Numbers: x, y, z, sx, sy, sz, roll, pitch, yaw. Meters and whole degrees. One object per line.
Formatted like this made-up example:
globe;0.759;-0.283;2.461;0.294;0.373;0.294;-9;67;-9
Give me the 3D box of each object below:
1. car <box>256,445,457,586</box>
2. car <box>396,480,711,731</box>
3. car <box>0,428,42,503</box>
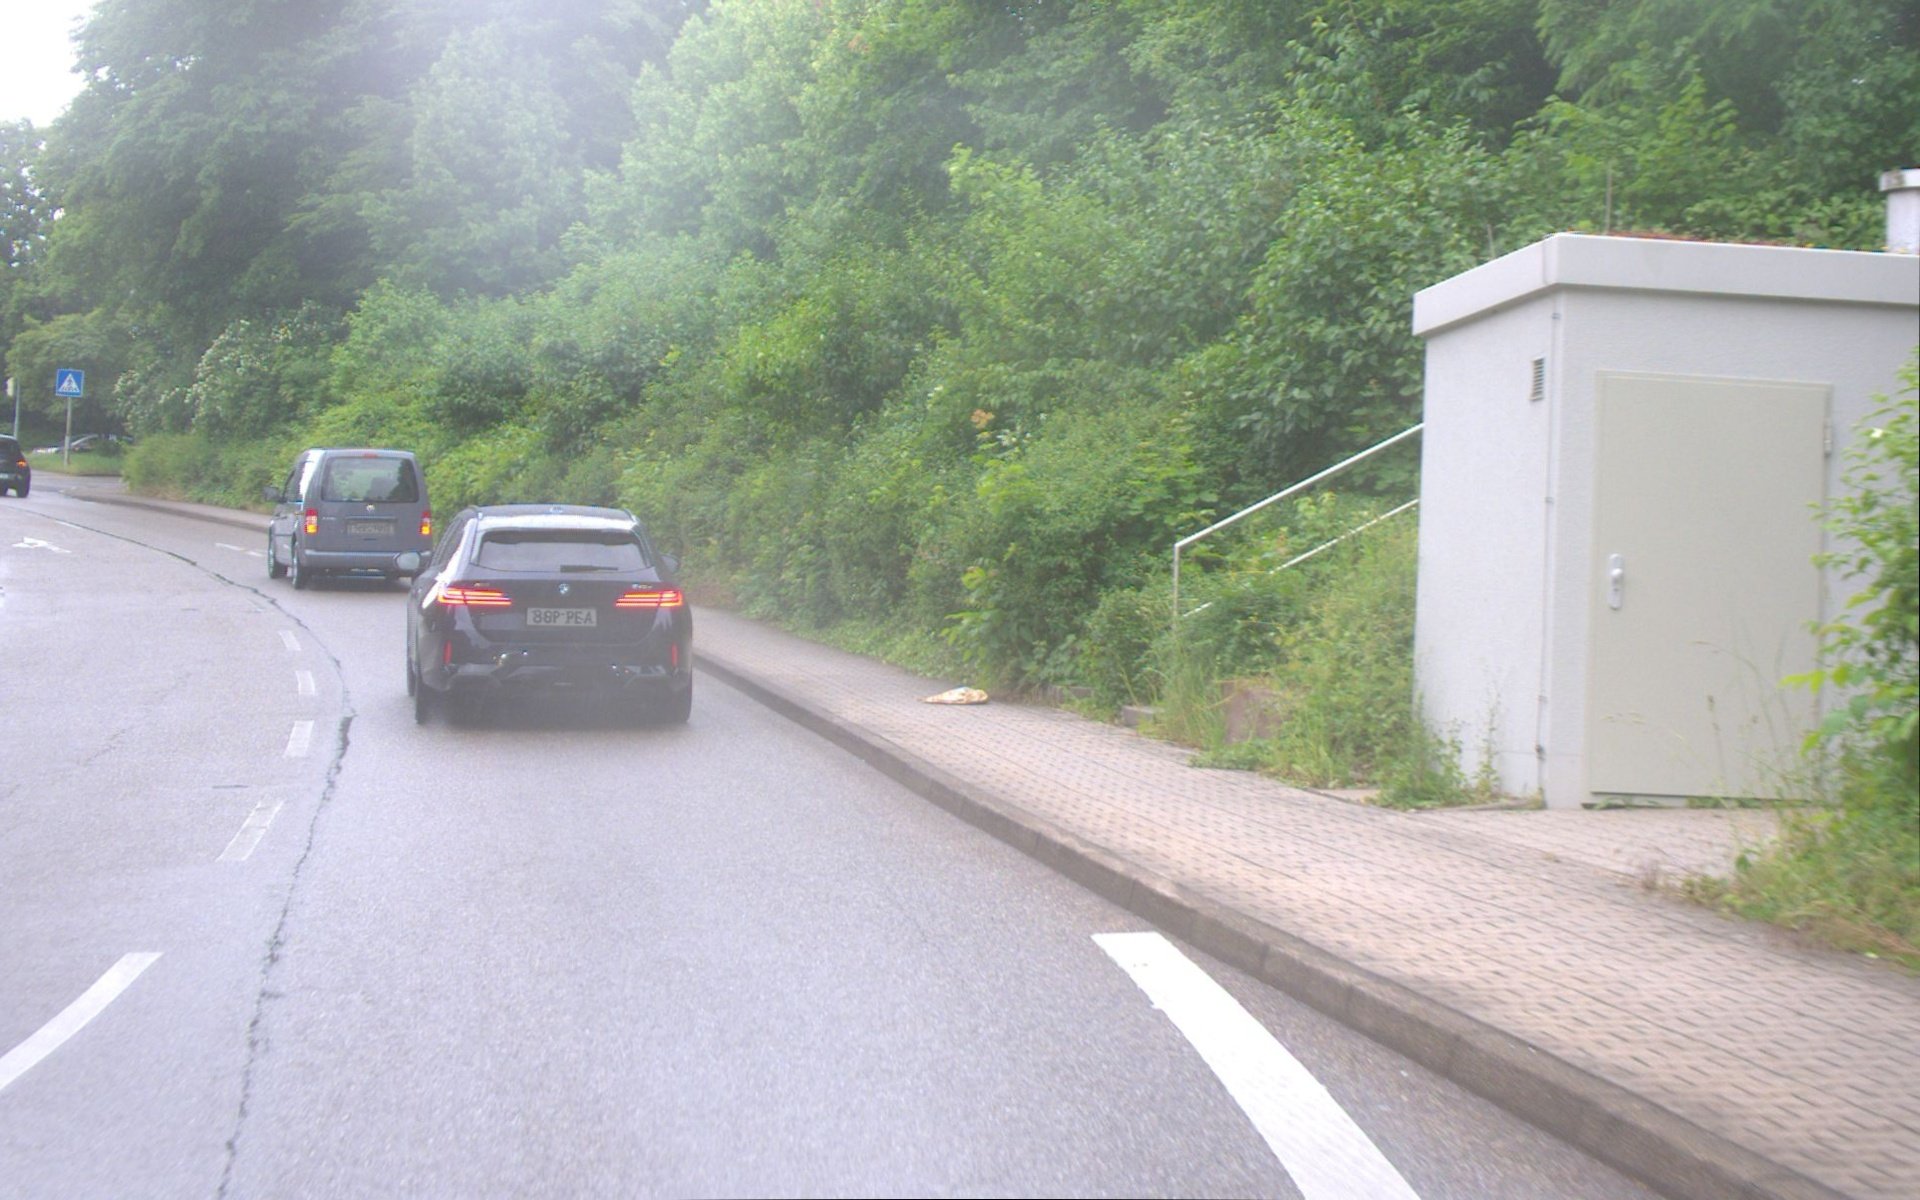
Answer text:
car;-7.944;-1.139;45.009;1.993;1.742;4.002;0;2;-19
car;-2.999;-0.017;24.682;1.993;1.581;4.664;2;1;-9
car;-23.372;-3.224;82.283;1.851;1.656;4.001;2;0;-28
